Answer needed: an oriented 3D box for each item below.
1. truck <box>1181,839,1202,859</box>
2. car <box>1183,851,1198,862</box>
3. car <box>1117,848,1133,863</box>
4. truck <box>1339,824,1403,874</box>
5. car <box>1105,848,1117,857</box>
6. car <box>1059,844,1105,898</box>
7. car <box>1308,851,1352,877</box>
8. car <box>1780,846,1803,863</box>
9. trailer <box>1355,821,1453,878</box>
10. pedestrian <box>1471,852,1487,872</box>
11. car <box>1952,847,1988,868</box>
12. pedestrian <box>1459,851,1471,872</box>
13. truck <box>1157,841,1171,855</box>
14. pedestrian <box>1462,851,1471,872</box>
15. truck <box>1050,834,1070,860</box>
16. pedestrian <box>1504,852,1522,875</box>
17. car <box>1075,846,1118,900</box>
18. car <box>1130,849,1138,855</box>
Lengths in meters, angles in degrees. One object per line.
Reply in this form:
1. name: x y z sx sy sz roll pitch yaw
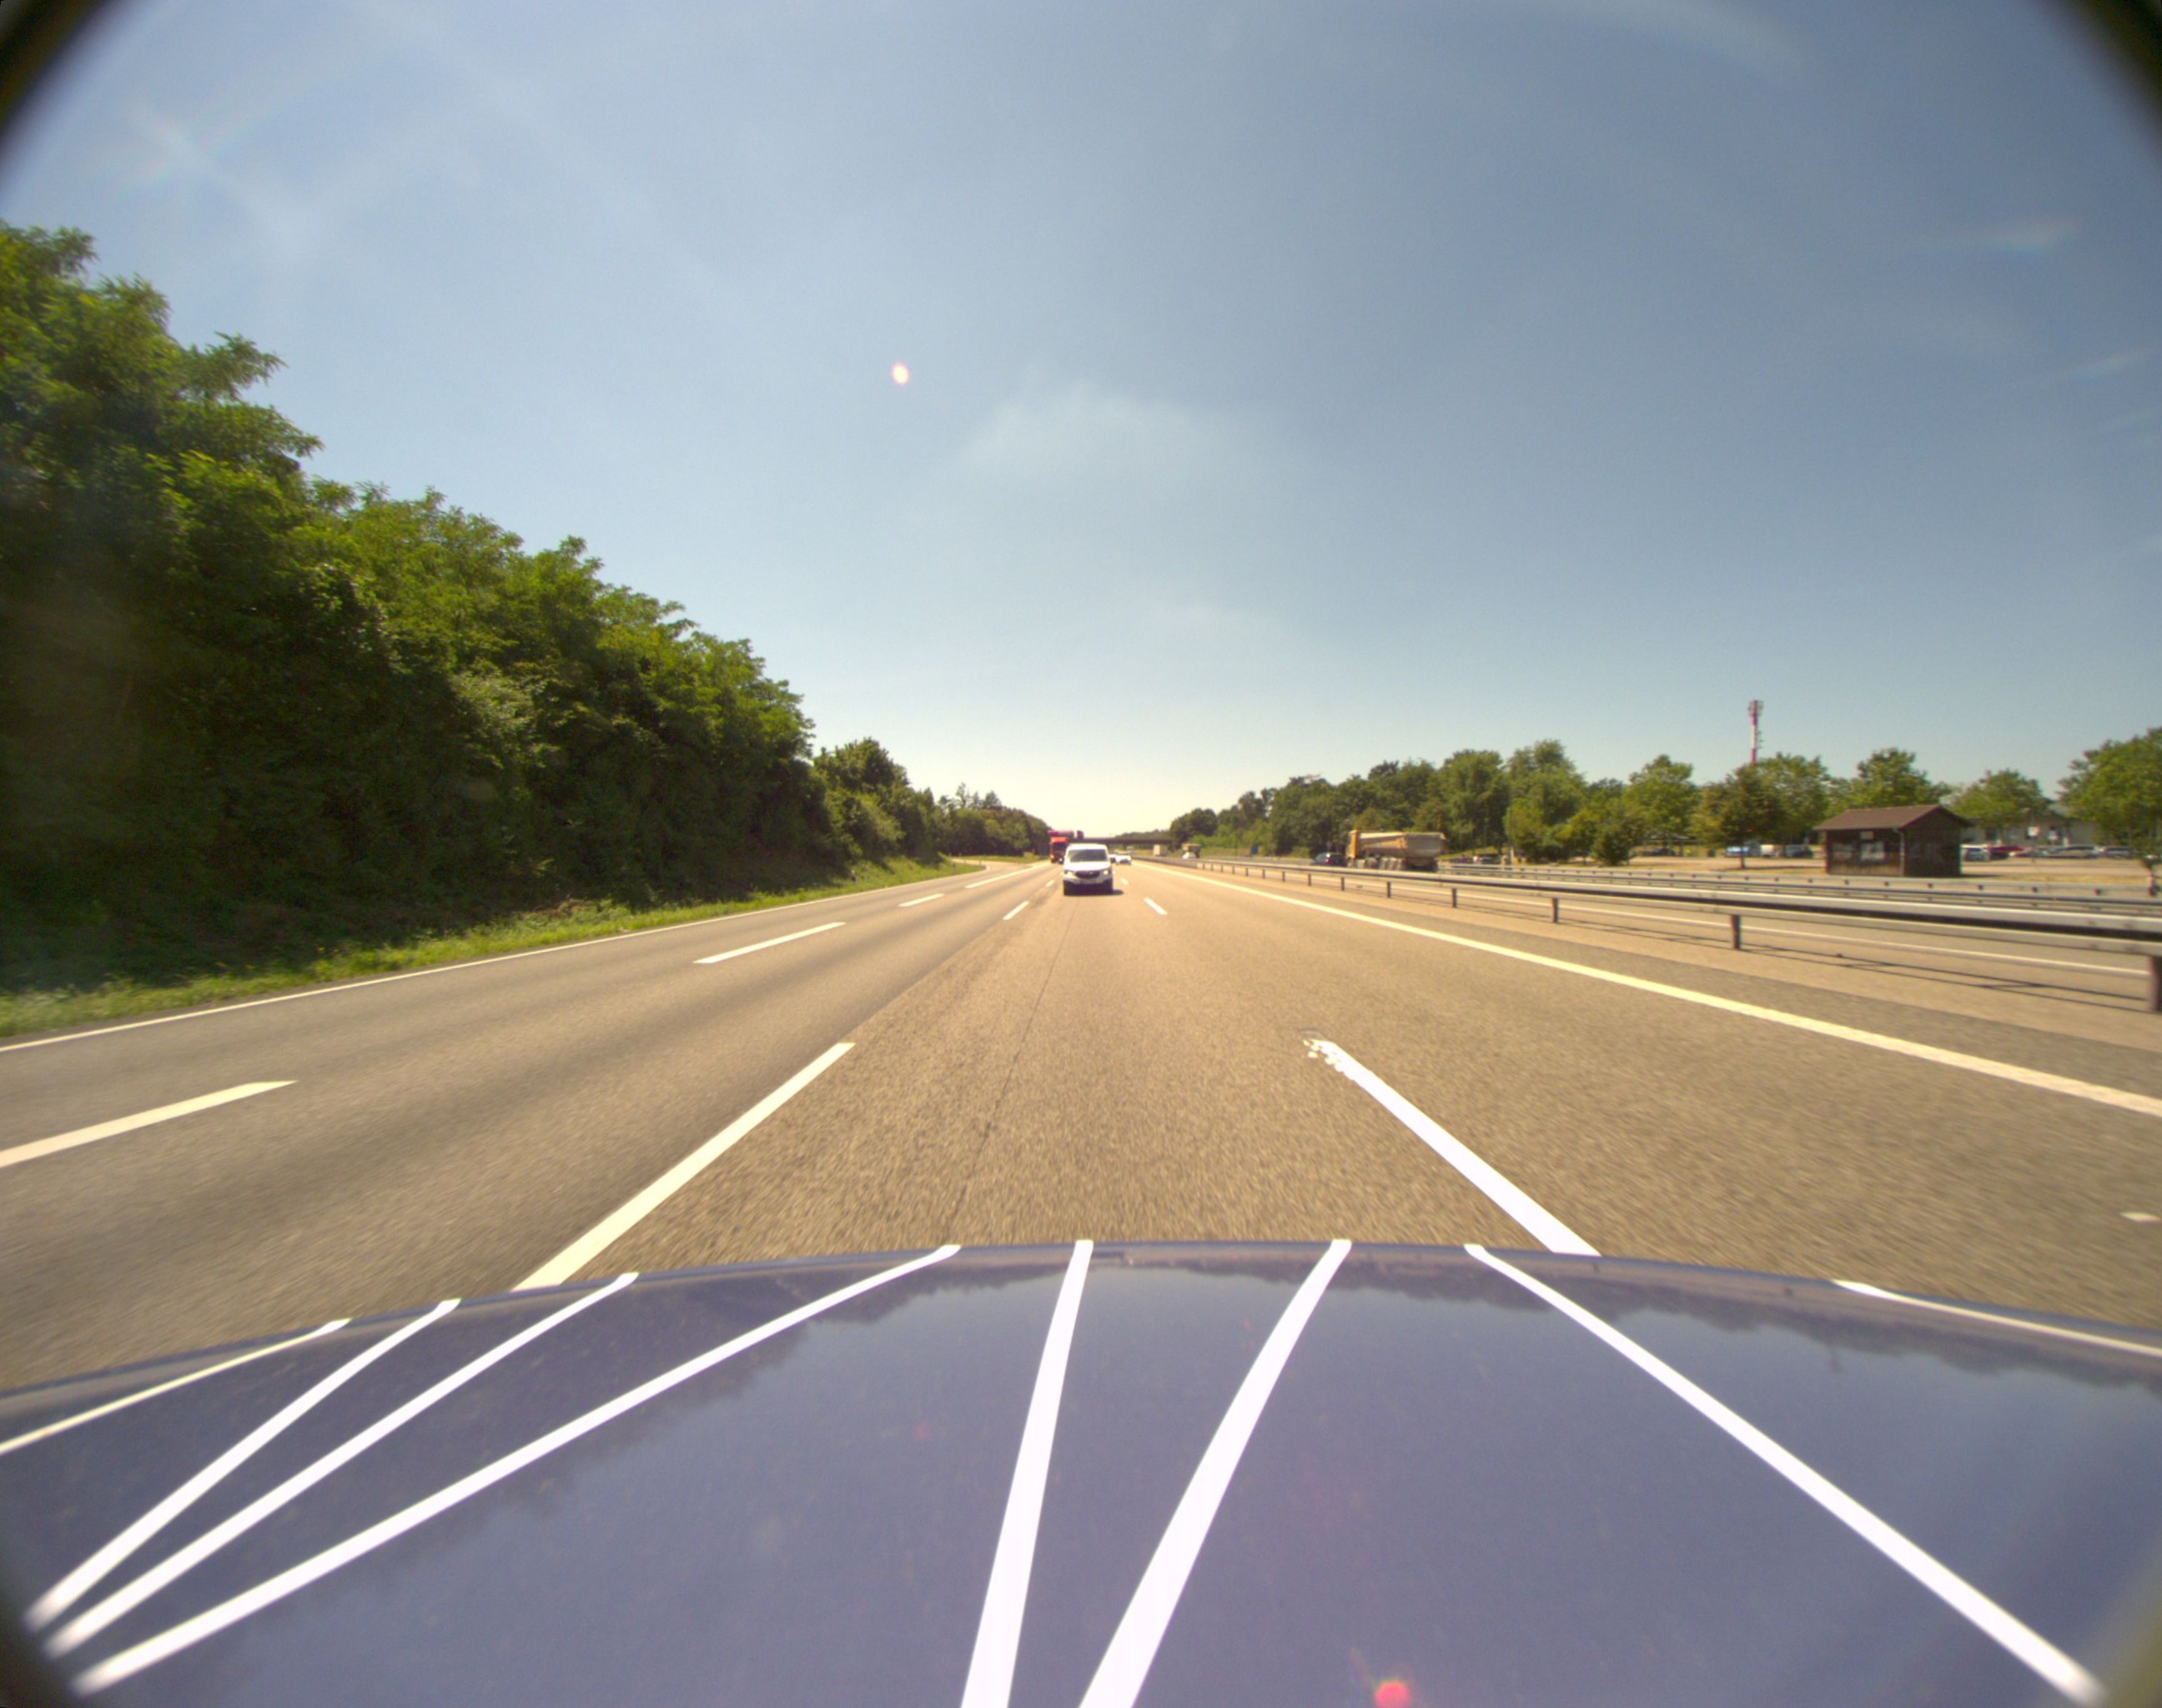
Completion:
1. truck: 23.116 -1.102 159.669 2.872 3.792 11.489 -2 1 1
2. car: 18.622 0.430 129.159 1.810 1.703 4.508 -2 1 1
3. car: 4.883 0.164 84.625 1.586 1.497 3.793 -2 1 2
4. truck: 22.193 -0.396 58.472 2.789 3.495 5.645 -2 1 1
5. car: 4.854 -0.247 122.591 1.775 1.410 3.401 -2 1 2
6. car: 0.062 0.573 27.979 1.501 1.799 3.394 -2 1 1
7. car: 17.894 0.701 54.820 1.750 1.705 4.484 -2 1 1
8. car: 74.480 0.046 79.608 3.118 1.599 1.493 -3 1 -42
9. trailer: 22.155 -0.332 52.814 2.789 3.495 9.369 -2 1 1
10. pedestrian: 30.525 0.638 58.323 0.757 1.509 0.758 -2 1 -7
11. car: 74.292 0.273 63.488 3.444 1.599 1.557 -3 1 -34
12. pedestrian: 29.741 0.603 58.790 0.645 1.598 0.656 -2 1 12
13. truck: 27.522 -2.029 252.497 3.401 4.387 11.332 -2 1 1
14. pedestrian: 30.122 0.581 59.408 0.473 1.598 0.500 -2 1 15
15. truck: -3.128 -1.087 112.614 2.540 3.656 5.219 -2 1 2
16. pedestrian: 30.067 0.663 52.846 0.677 1.598 0.875 -2 1 -6
17. car: 0.566 0.633 27.740 1.413 1.795 3.200 -2 1 1
18. car: 16.040 -0.628 229.326 1.971 1.966 3.982 -2 1 1
